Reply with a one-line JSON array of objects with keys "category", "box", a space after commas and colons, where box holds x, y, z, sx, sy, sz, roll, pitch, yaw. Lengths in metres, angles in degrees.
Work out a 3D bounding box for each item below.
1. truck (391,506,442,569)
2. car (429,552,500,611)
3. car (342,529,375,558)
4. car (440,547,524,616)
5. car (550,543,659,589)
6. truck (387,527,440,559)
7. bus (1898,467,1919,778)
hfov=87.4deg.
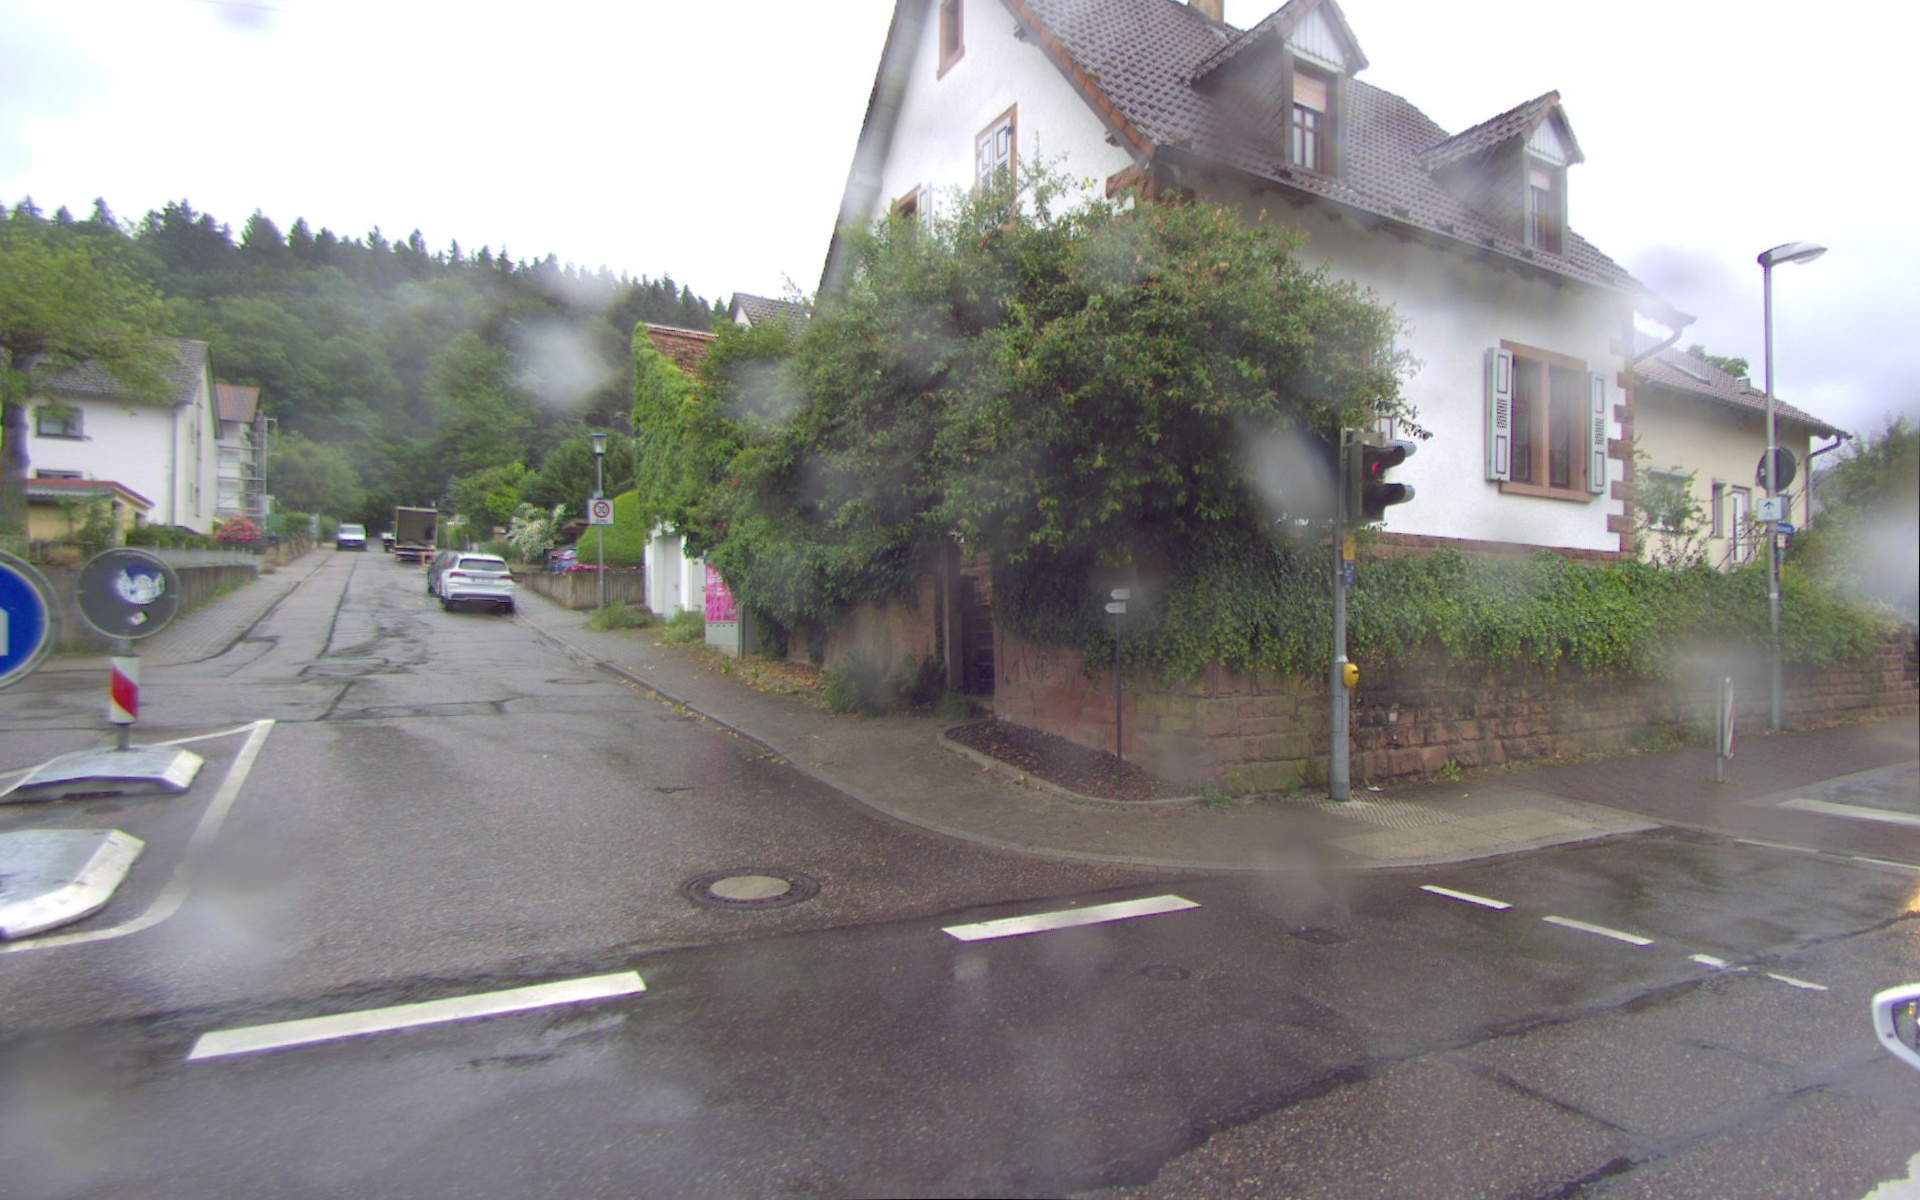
[{"category": "truck", "box": [-31.874, -3.585, 58.906, 2.423, 3.397, 6.606, 2, 1, -29]}, {"category": "car", "box": [-16.232, -0.638, 32.789, 1.877, 1.534, 3.861, 2, 5, -29]}, {"category": "car", "box": [-45.016, -4.206, 75.161, 1.896, 2.040, 3.963, 2, 1, -33]}, {"category": "car", "box": [-13.553, -0.568, 28.370, 1.877, 1.534, 3.861, 2, 5, -29]}, {"category": "car", "box": [-14.313, -1.351, 40.473, 3.846, 1.534, 1.885, 2, 5, -30]}, {"category": "truck", "box": [-41.549, -4.276, 76.515, 2.263, 2.155, 6.058, 2, 1, -16]}, {"category": "bus", "box": [15.074, 0.192, 12.148, 12.059, 3.040, 2.634, 0, 0, -33]}]
